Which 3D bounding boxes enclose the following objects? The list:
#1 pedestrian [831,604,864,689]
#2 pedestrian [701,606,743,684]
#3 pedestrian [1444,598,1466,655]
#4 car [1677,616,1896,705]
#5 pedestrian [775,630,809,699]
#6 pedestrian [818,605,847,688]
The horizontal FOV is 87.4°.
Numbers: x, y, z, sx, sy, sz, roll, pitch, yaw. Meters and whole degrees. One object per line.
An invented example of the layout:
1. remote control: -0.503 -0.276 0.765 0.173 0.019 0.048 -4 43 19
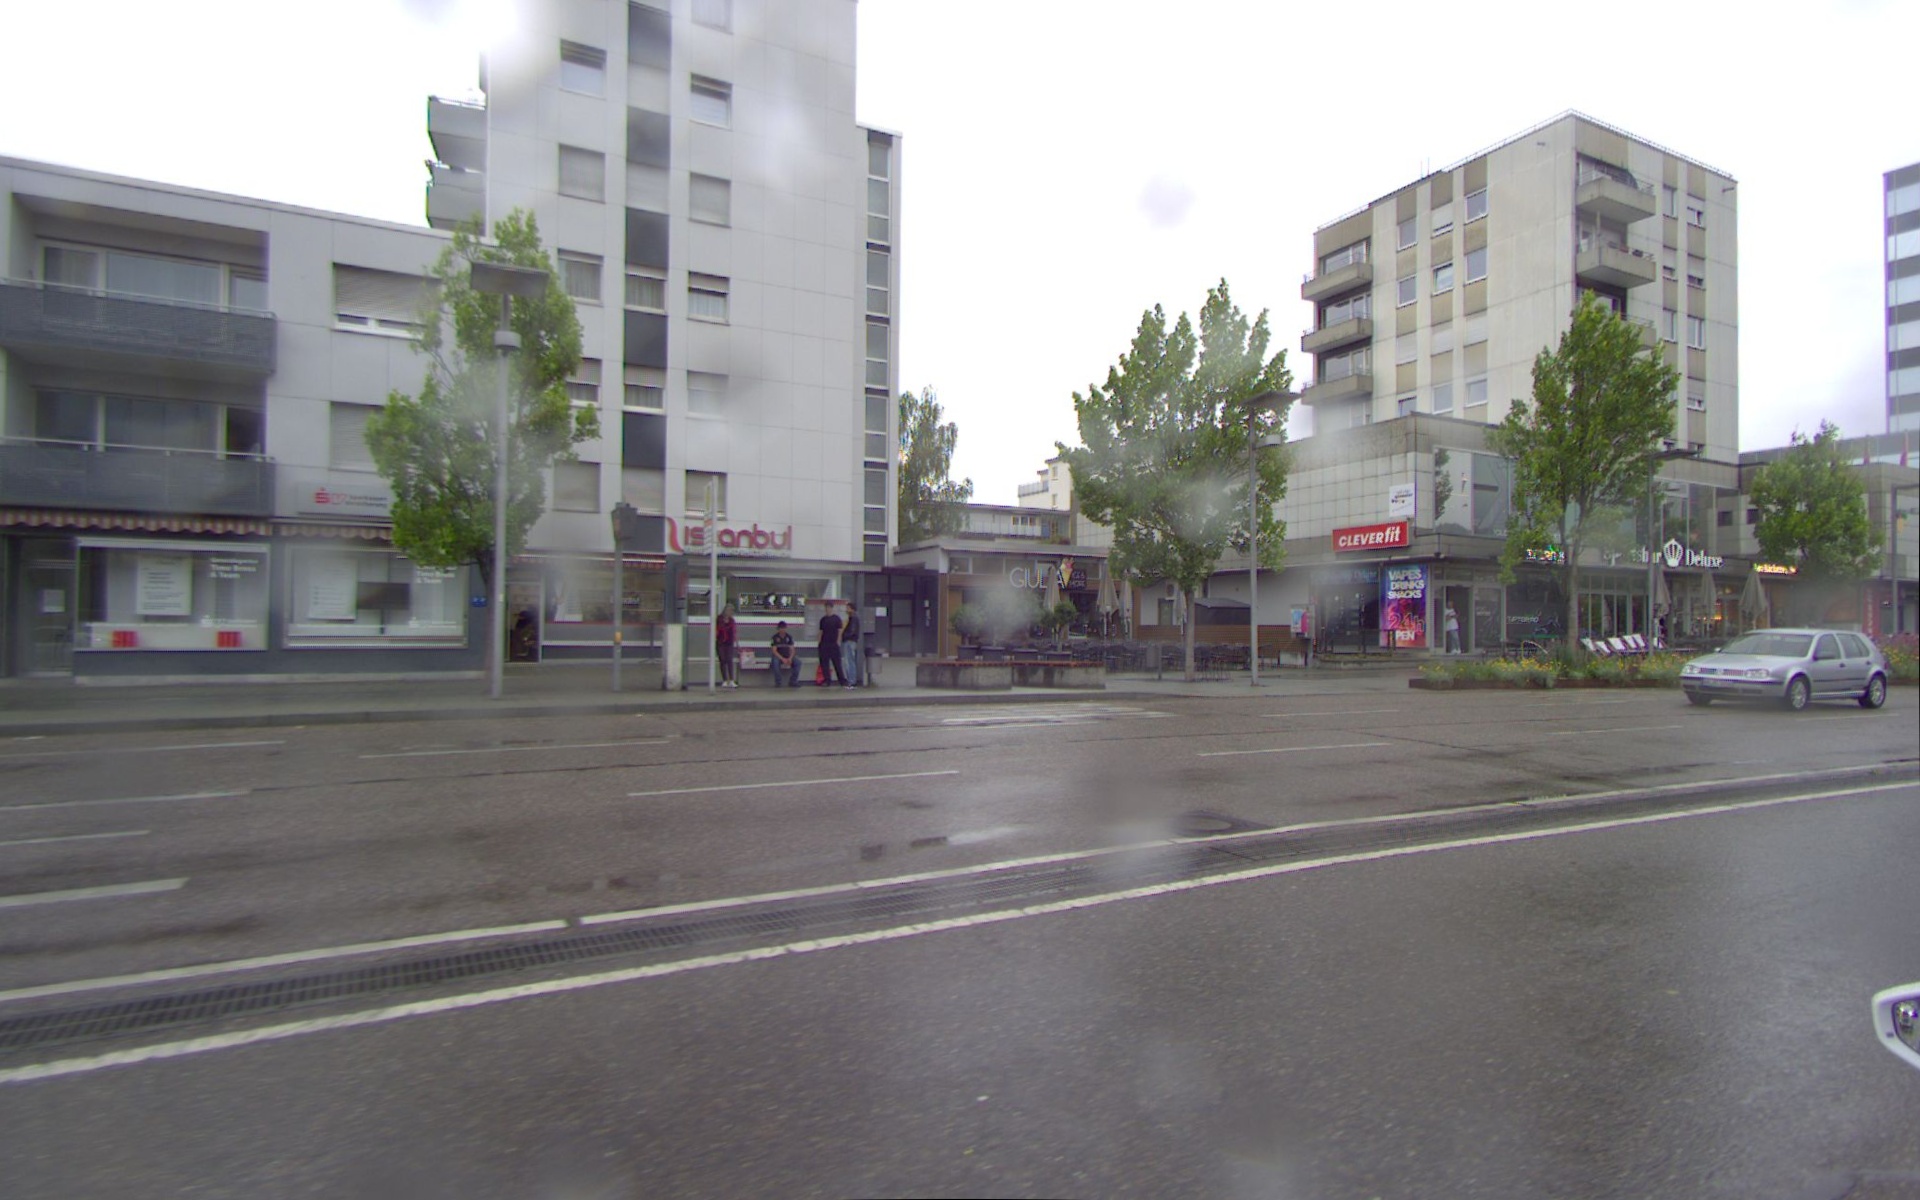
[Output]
1. pedestrian: -2.261 0.925 20.196 0.529 1.681 0.476 1 -1 -26
2. pedestrian: -4.711 0.877 19.894 0.528 1.525 0.612 0 -1 40
3. pedestrian: 16.634 0.889 33.744 0.493 1.872 0.425 1 -1 -17
4. car: 15.290 1.080 18.558 4.052 1.485 1.693 1 -2 -28
5. pedestrian: -3.400 1.294 20.332 0.570 1.370 0.534 1 -1 -21
6. pedestrian: -2.635 0.958 20.709 0.472 1.681 0.534 1 -1 -21
